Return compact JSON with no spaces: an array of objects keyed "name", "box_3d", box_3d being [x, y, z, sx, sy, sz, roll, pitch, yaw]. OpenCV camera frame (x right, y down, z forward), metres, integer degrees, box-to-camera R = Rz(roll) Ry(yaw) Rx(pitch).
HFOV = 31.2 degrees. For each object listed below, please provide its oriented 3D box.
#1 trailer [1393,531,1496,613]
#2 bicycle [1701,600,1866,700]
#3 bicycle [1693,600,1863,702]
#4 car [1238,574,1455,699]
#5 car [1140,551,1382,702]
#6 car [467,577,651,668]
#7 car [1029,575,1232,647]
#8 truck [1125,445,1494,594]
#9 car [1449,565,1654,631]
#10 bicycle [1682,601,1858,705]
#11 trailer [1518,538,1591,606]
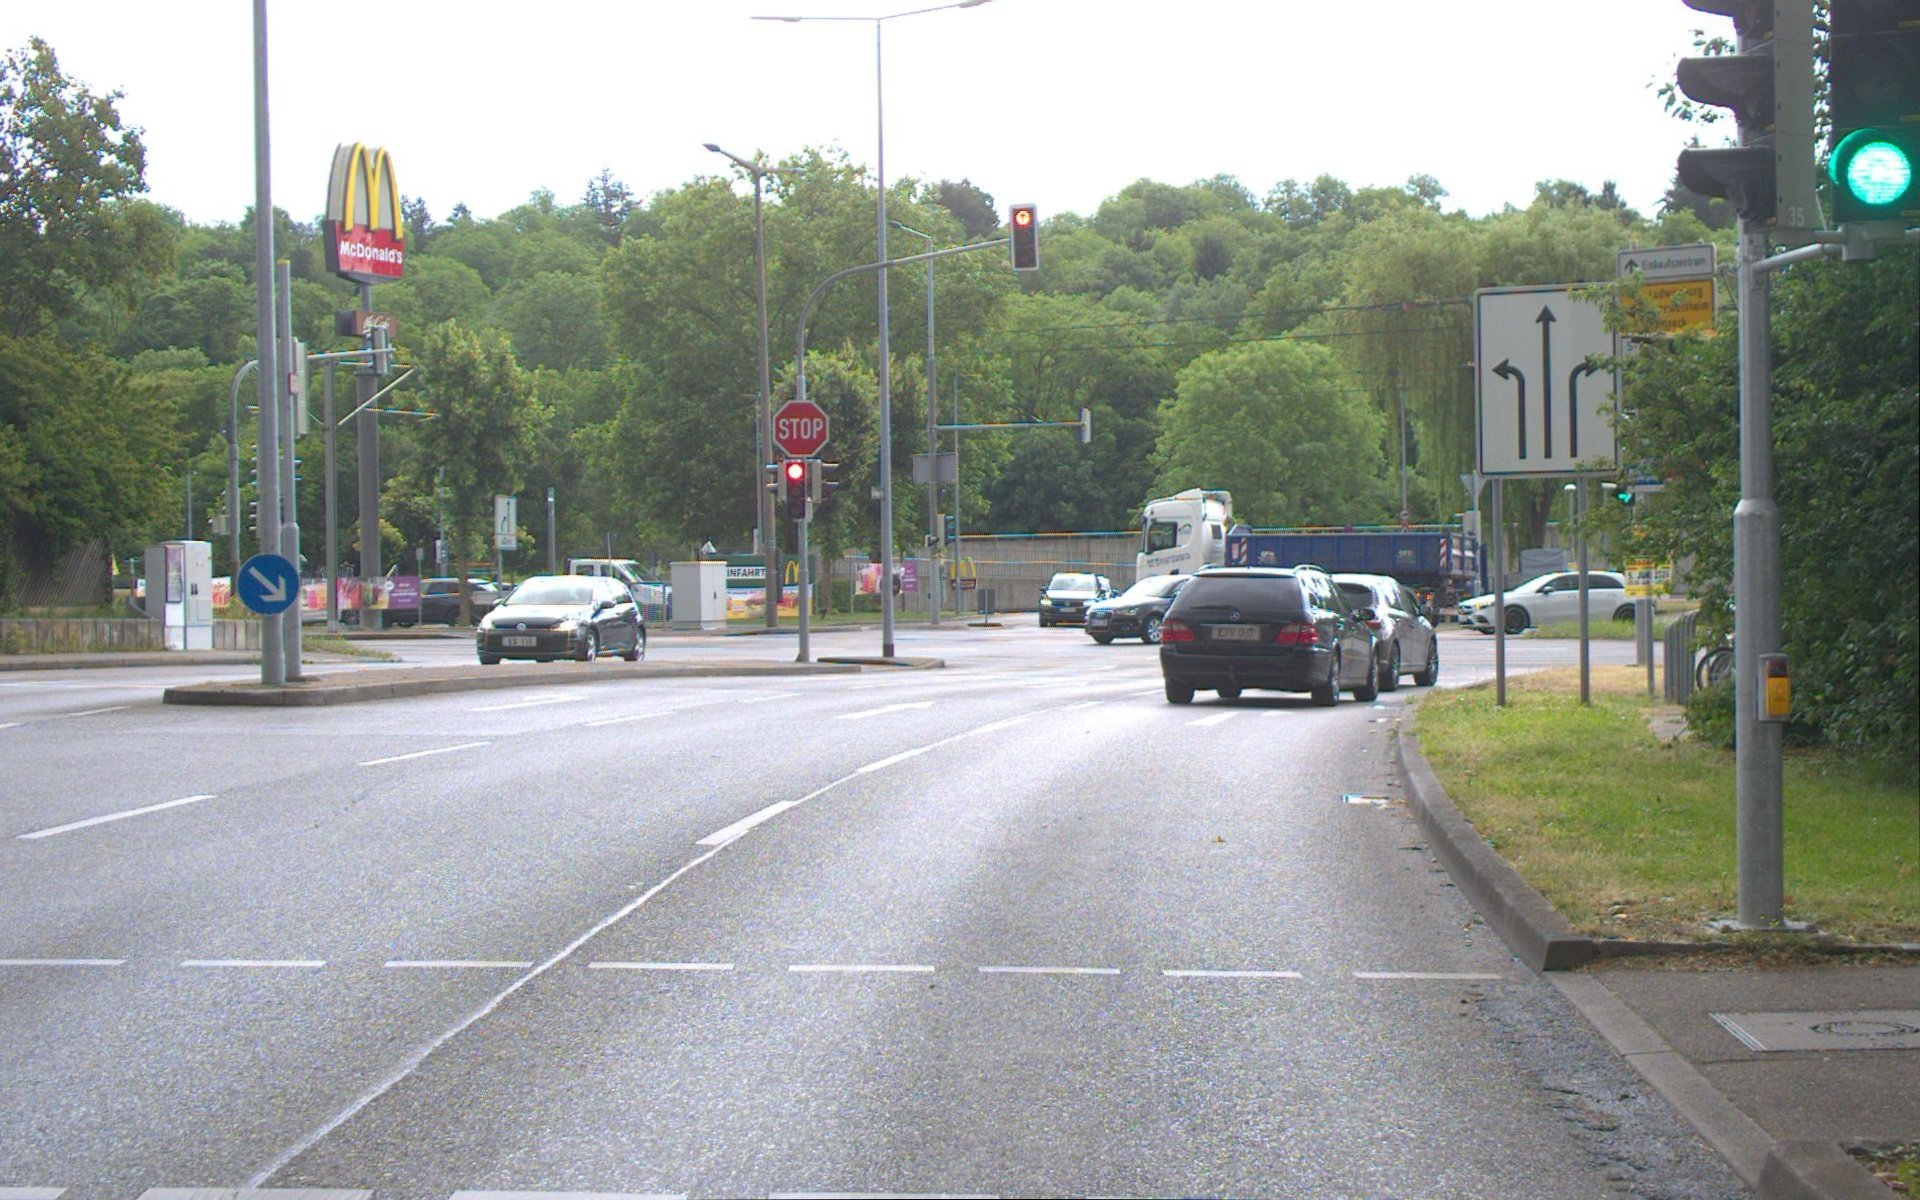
[{"name":"trailer","box_3d":[15.923,-0.904,112.761,2.354,2.573,4.915,-2,-1,19]},{"name":"bicycle","box_3d":[9.205,0.555,38.475,1.779,1.107,0.579,0,0,12]},{"name":"bicycle","box_3d":[8.981,0.556,37.755,1.780,1.107,0.455,0,-1,17]},{"name":"car","box_3d":[5.144,0.450,45.332,1.729,1.525,4.144,-1,0,23]},{"name":"car","box_3d":[3.339,0.310,37.379,1.824,1.504,4.571,1,-1,15]},{"name":"car","box_3d":[-6.262,0.326,54.143,1.678,1.361,4.309,0,0,10]},{"name":"car","box_3d":[3.547,0.220,71.568,3.881,1.411,1.622,-1,0,-24]},{"name":"truck","box_3d":[9.239,-2.061,91.147,9.111,3.575,3.215,-2,-1,24]},{"name":"car","box_3d":[13.383,-0.050,77.927,4.277,1.401,1.606,-1,0,-6]},{"name":"bicycle","box_3d":[8.699,0.577,36.966,1.781,1.107,0.425,-1,-1,31]},{"name":"trailer","box_3d":[19.803,-0.911,114.371,1.995,2.177,3.997,-1,-1,15]}]
